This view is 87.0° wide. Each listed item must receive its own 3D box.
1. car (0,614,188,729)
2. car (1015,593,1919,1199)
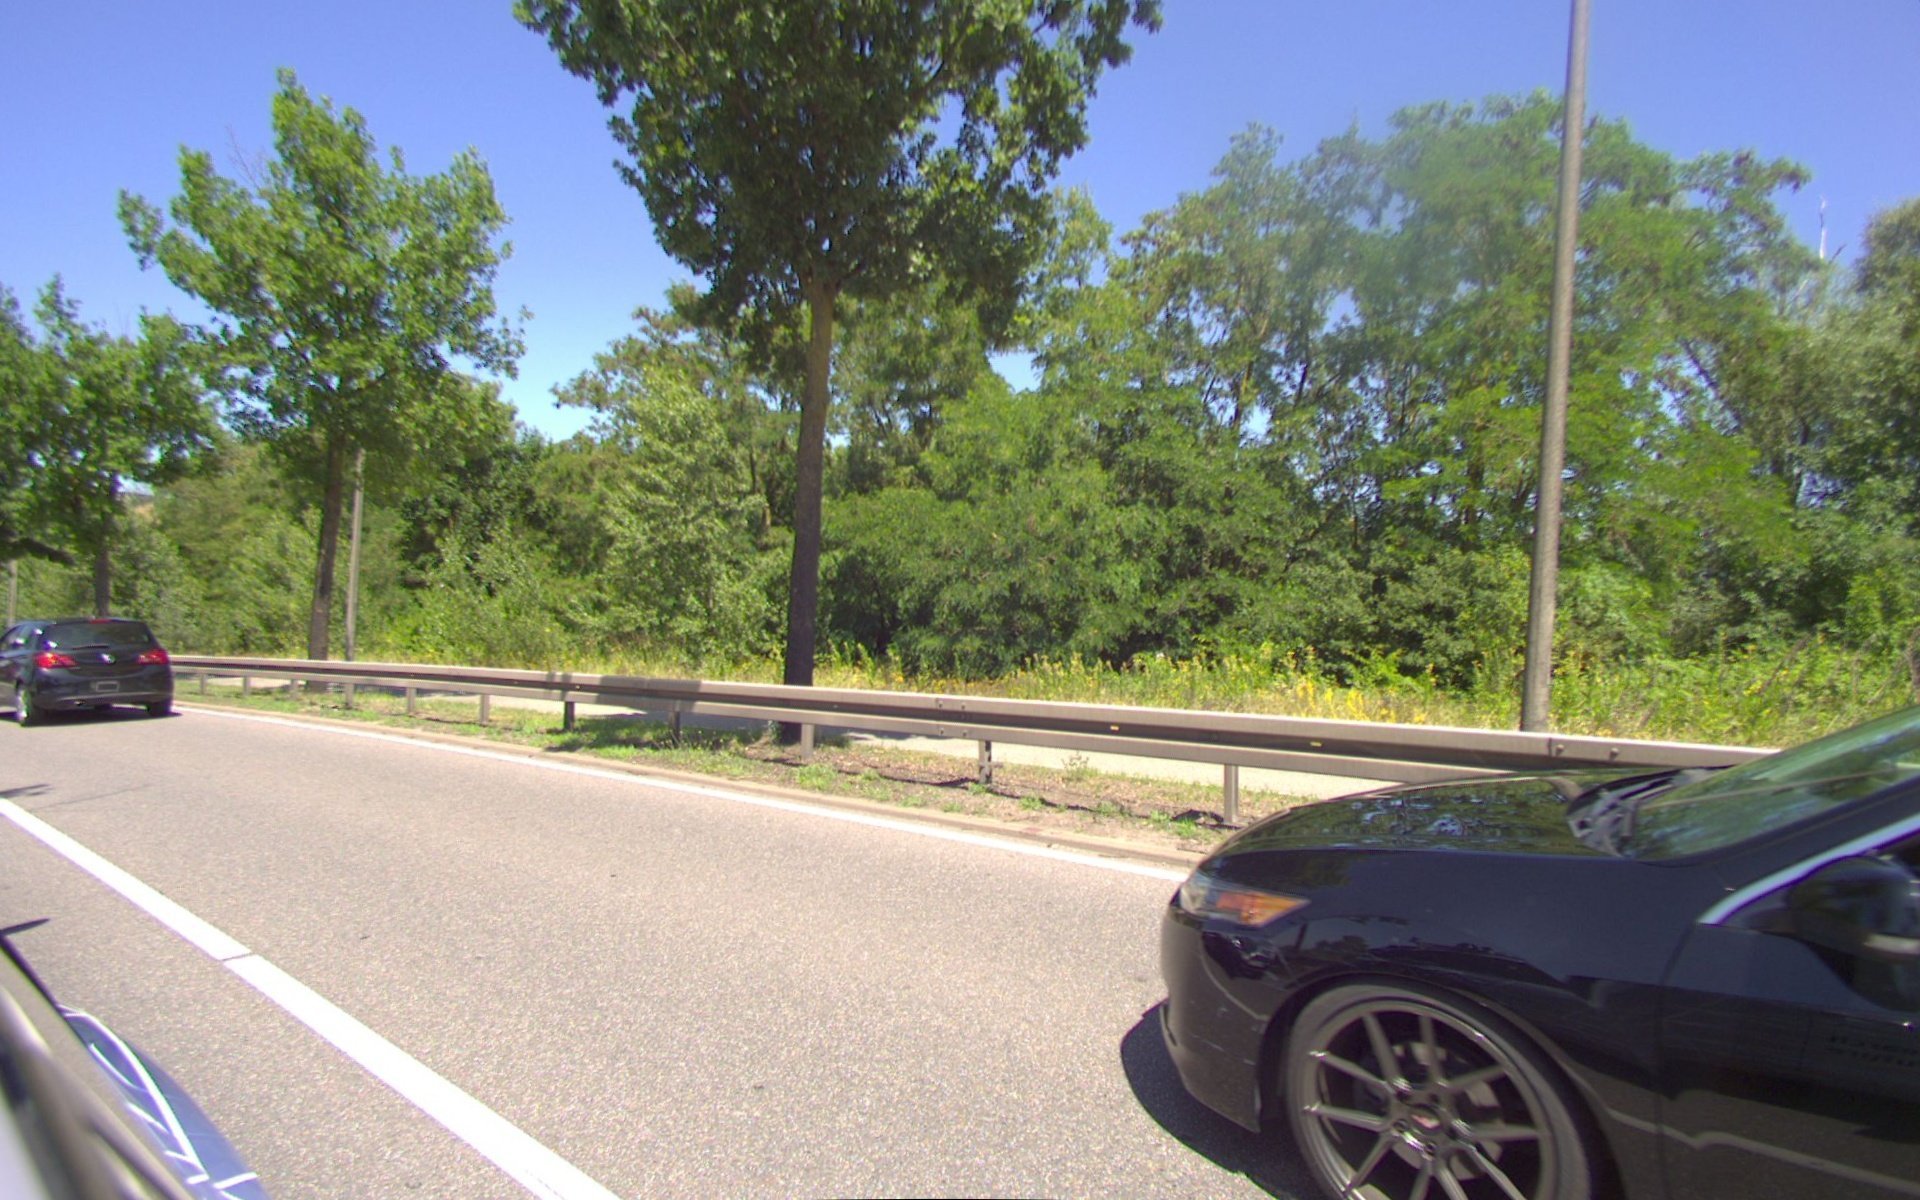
[{"bbox_3d":[-13.162,0.970,14.982,3.725,1.503,1.730,-1,-1,35],"label":"car"},{"bbox_3d":[2.517,0.679,1.919,4.668,1.391,1.857,-1,0,41],"label":"car"}]
